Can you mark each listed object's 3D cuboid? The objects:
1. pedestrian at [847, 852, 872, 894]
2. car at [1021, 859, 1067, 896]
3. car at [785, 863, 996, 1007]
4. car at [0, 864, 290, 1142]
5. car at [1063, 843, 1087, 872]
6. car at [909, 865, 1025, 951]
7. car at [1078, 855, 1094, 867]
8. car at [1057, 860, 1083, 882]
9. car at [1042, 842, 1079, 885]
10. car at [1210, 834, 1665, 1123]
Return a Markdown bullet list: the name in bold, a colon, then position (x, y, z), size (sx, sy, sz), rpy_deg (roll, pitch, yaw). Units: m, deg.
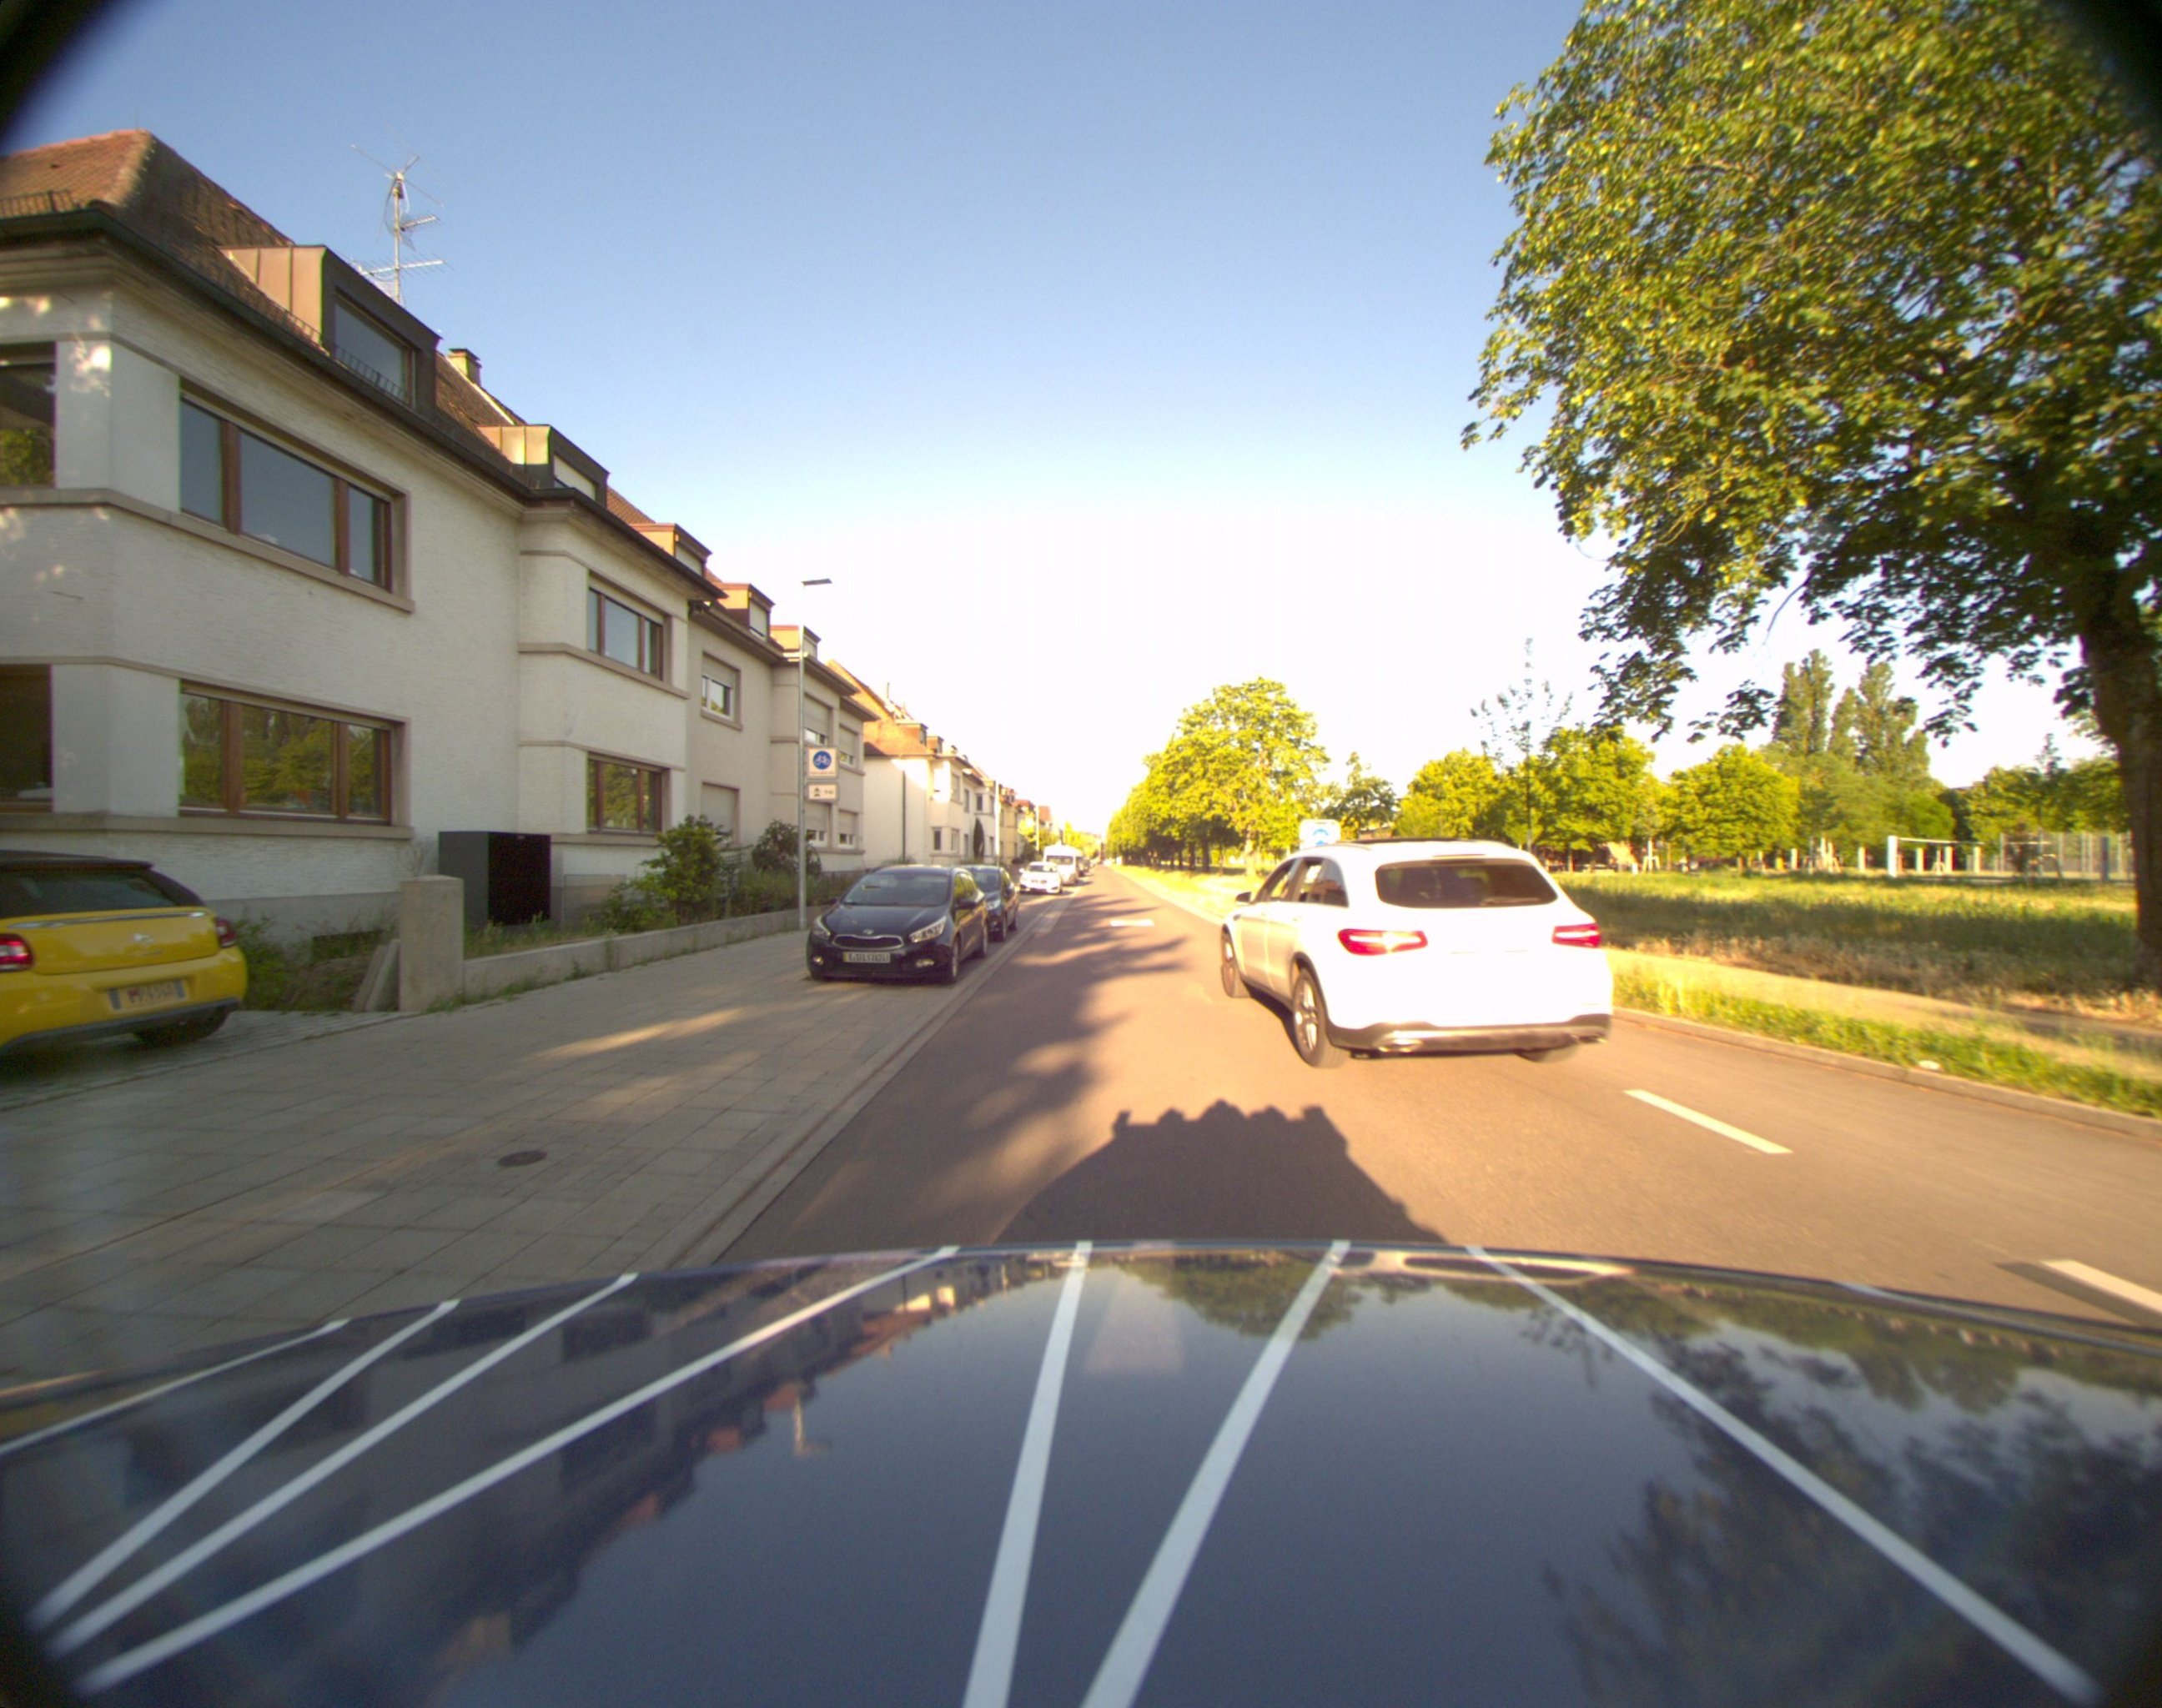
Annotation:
- **pedestrian**: position (-10.853, 0.907, 37.235), size (1.089, 2.002, 0.865), rpy_deg (-1, 0, -13)
- **car**: position (-1.648, 1.035, 34.978), size (1.787, 1.498, 4.233), rpy_deg (3, 0, 1)
- **car**: position (-2.372, 0.932, 10.630), size (1.750, 1.466, 4.255), rpy_deg (3, 0, 1)
- **car**: position (-7.898, 0.825, 4.893), size (3.644, 1.487, 1.781), rpy_deg (1, 0, -2)
- **car**: position (-0.554, 0.395, 77.897), size (2.134, 2.837, 5.988), rpy_deg (-1, 0, 2)
- **car**: position (-2.230, 1.018, 15.863), size (1.722, 1.463, 3.983), rpy_deg (2, 0, 1)
- **car**: position (0.722, 0.955, 104.926), size (1.974, 1.630, 4.001), rpy_deg (2, 0, 2)
- **car**: position (-0.747, 1.154, 53.786), size (1.625, 1.474, 4.109), rpy_deg (-1, 0, 3)
- **car**: position (-1.214, 0.589, 47.553), size (2.134, 2.503, 5.508), rpy_deg (1, 0, 0)
- **car**: position (2.492, 0.742, 6.710), size (1.896, 1.667, 4.424), rpy_deg (-1, 0, 0)
